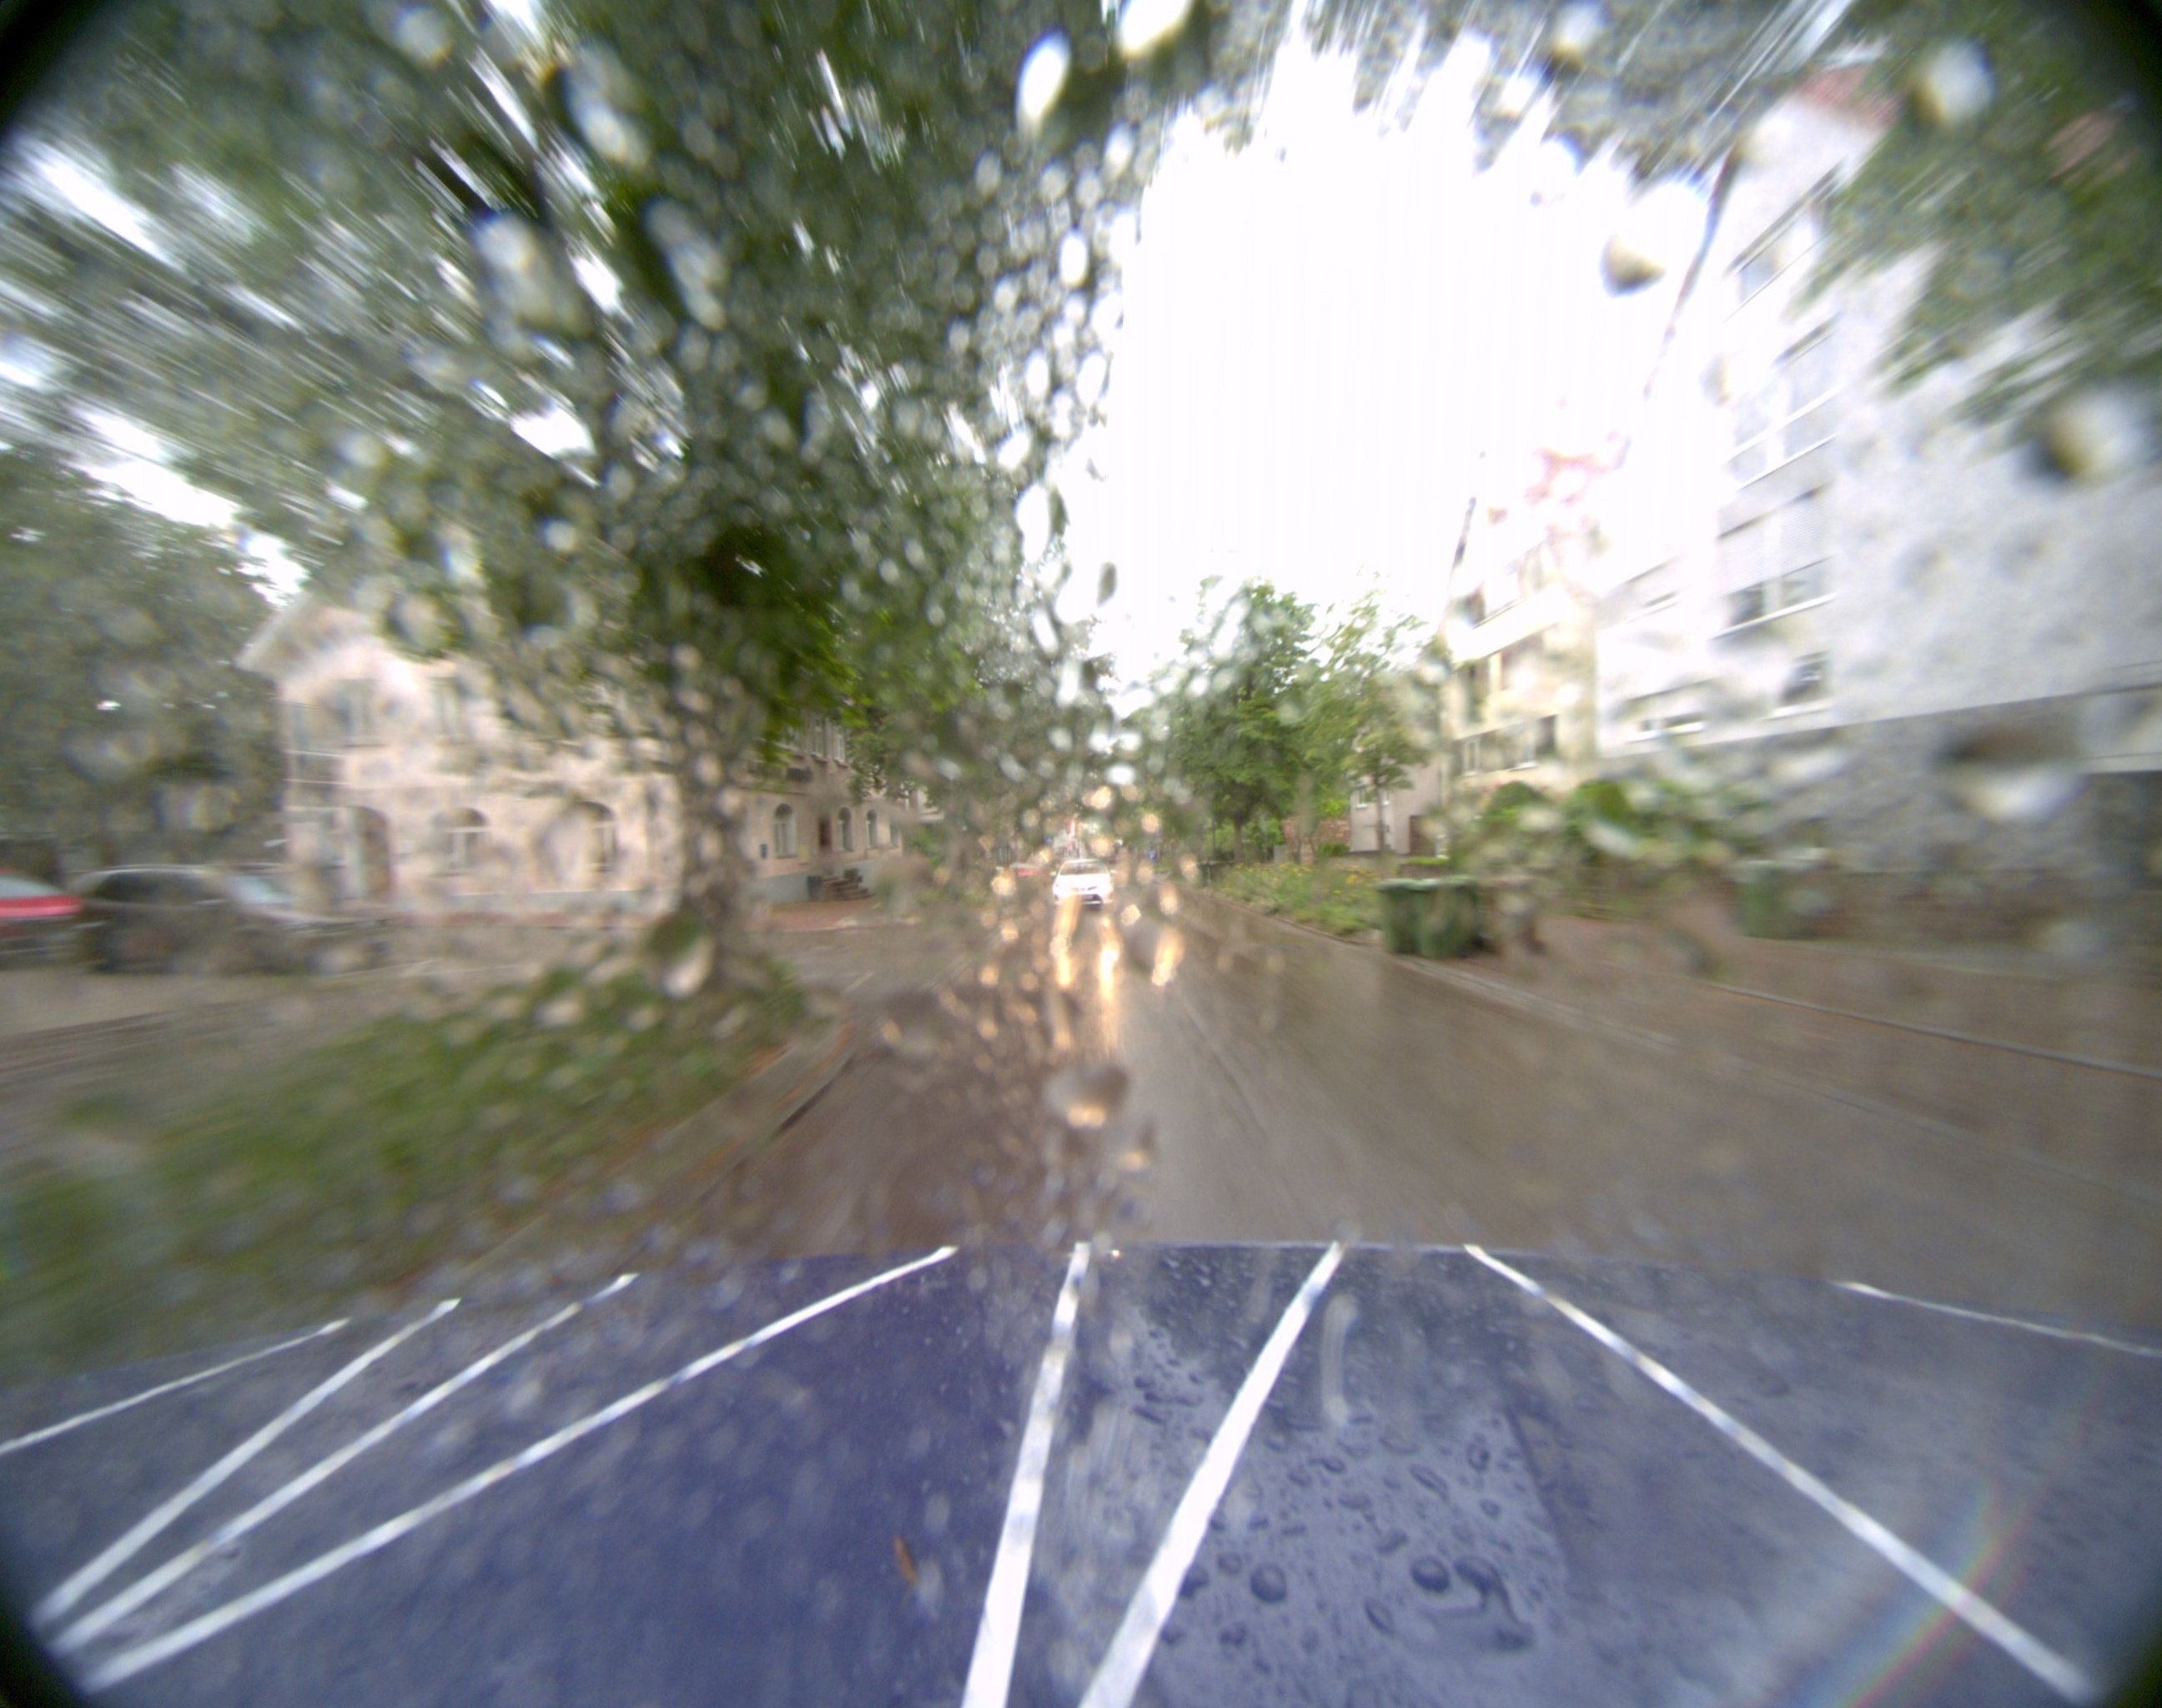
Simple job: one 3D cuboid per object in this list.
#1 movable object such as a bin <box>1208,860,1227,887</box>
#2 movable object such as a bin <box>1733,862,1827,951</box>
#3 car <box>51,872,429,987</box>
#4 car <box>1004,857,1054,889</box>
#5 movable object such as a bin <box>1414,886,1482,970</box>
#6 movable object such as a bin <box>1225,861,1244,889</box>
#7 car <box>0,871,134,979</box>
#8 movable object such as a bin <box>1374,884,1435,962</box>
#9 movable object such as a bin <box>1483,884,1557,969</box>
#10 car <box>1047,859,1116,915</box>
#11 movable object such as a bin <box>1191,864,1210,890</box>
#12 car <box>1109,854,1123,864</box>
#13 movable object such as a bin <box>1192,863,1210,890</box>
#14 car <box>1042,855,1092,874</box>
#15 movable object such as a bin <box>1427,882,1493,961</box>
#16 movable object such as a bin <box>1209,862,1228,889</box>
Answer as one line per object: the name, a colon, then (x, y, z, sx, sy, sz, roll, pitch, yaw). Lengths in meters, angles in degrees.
movable object such as a bin: (5.696, 0.820, 31.807, 0.625, 1.055, 0.582, -4, 1, -1)
movable object such as a bin: (9.490, 0.698, 10.340, 0.664, 1.126, 0.659, -2, 1, 3)
car: (-13.004, 1.114, 11.907, 4.189, 1.575, 1.841, -1, 1, 7)
car: (-2.557, 0.928, 38.340, 1.896, 1.460, 4.824, -1, 0, 3)
movable object such as a bin: (4.981, 0.990, 10.336, 0.665, 1.061, 0.596, -1, 2, 5)
movable object such as a bin: (6.292, 0.855, 31.176, 0.618, 1.053, 0.561, -4, 1, -1)
car: (-18.677, 1.142, 12.564, 4.190, 1.612, 1.705, -1, 1, 5)
movable object such as a bin: (4.707, 0.995, 11.080, 0.665, 1.068, 0.596, -1, 2, 5)
movable object such as a bin: (5.883, 0.960, 10.205, 0.665, 1.068, 0.596, -1, 2, 5)
car: (0.095, 0.930, 23.110, 1.828, 1.451, 3.876, -3, 0, 3)
movable object such as a bin: (4.980, 0.952, 31.796, 0.629, 1.053, 0.565, -4, 1, -1)
car: (5.274, 0.759, 114.923, 1.828, 1.353, 3.874, -3, 0, -1)
movable object such as a bin: (4.918, 0.923, 31.160, 0.585, 1.071, 0.570, -4, 1, -1)
car: (-1.211, 0.907, 65.964, 4.270, 1.451, 1.829, -3, 0, -1)
movable object such as a bin: (5.447, 0.959, 10.946, 0.665, 1.068, 0.596, -1, 2, 5)
movable object such as a bin: (5.638, 0.879, 31.170, 0.618, 1.053, 0.569, -4, 1, -1)
